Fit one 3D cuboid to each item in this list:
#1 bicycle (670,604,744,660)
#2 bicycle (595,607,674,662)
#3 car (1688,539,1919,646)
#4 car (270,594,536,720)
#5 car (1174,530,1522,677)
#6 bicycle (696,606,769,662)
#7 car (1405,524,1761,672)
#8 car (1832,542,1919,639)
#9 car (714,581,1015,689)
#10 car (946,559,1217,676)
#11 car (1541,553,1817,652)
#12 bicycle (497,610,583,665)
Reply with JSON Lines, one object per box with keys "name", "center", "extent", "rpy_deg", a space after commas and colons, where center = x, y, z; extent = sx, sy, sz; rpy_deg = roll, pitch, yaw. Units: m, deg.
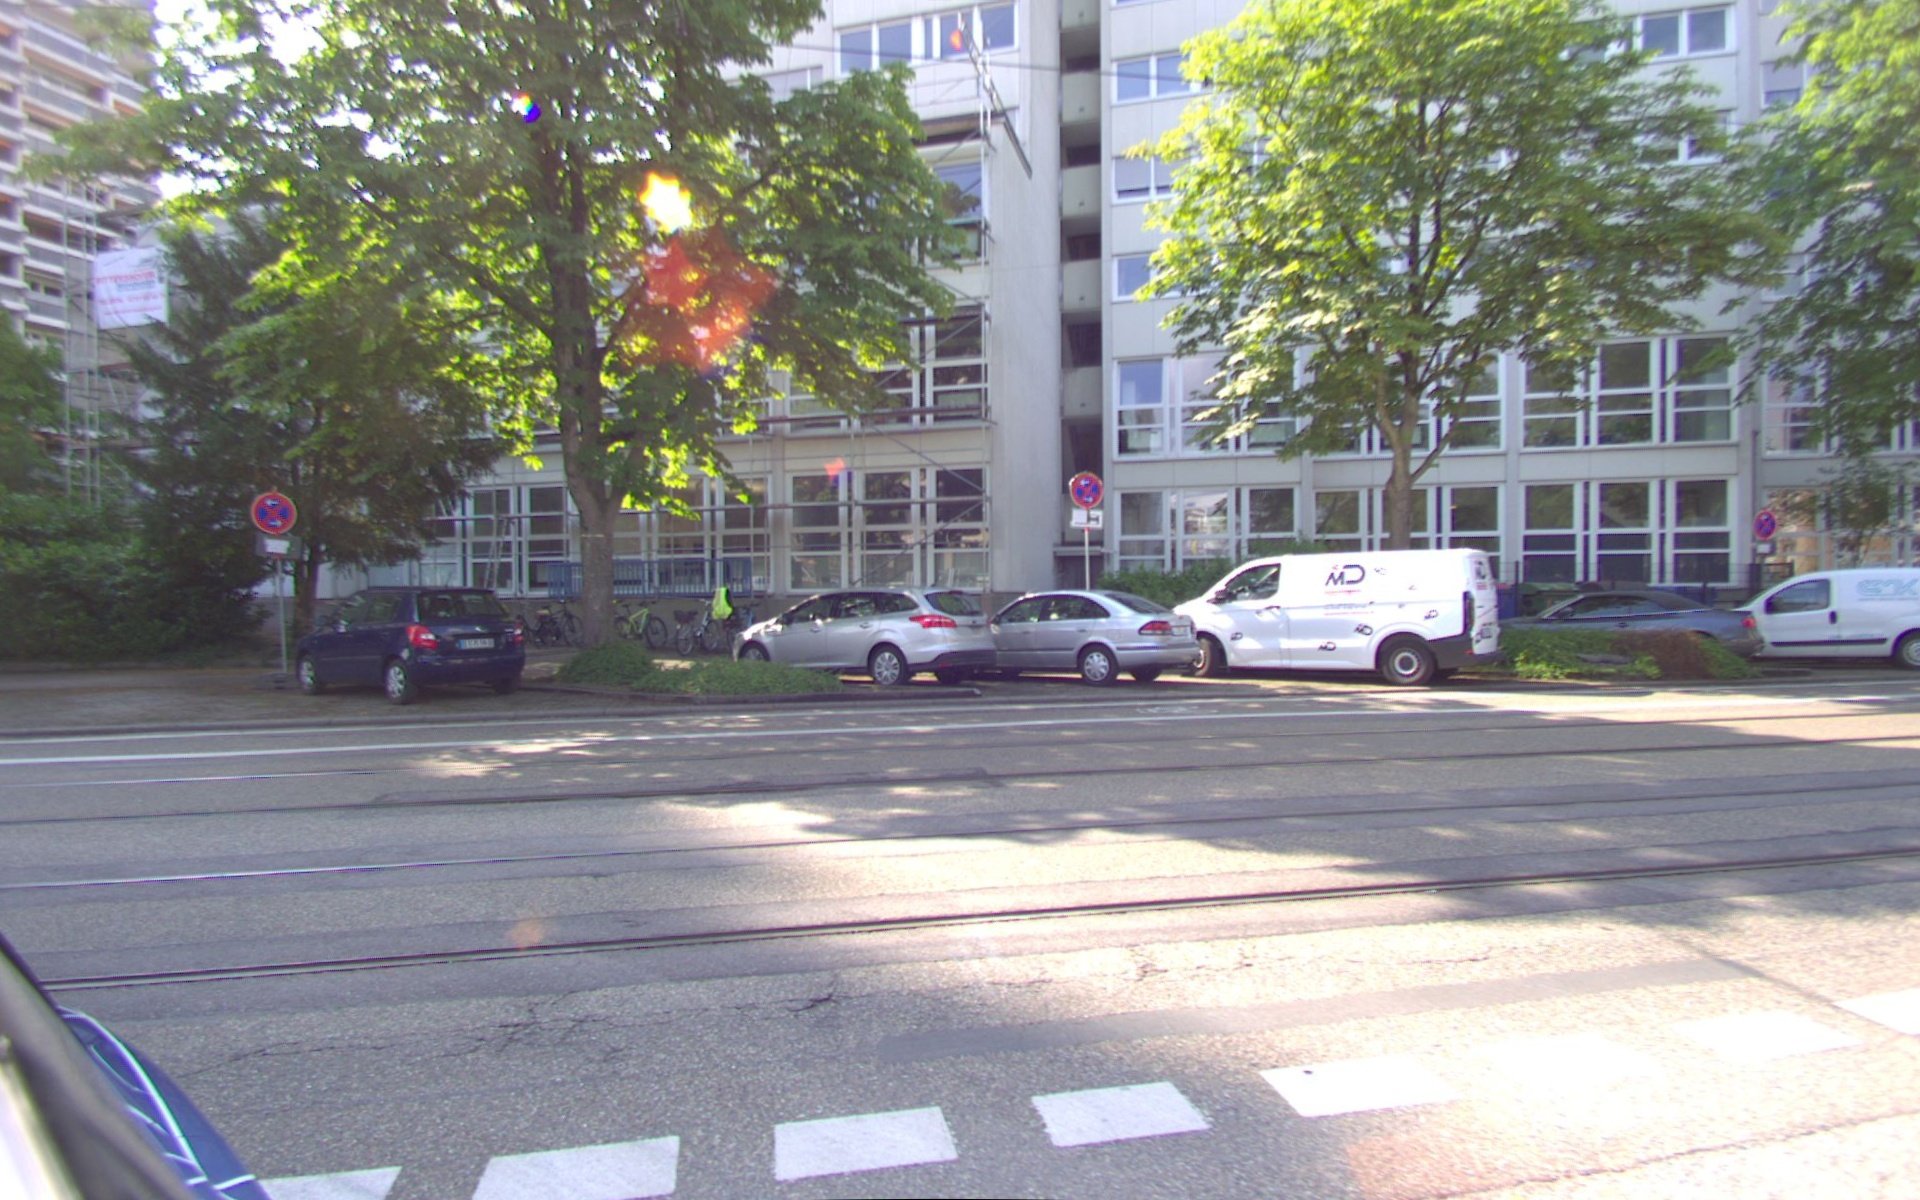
{"name": "bicycle", "center": [-5.351, 0.658, 21.508], "extent": [0.493, 1.095, 2.043], "rpy_deg": [-2, 0, 18]}
{"name": "bicycle", "center": [-7.015, 0.727, 21.934], "extent": [0.493, 1.095, 2.043], "rpy_deg": [-2, 0, 18]}
{"name": "car", "center": [15.060, -0.112, 17.627], "extent": [3.749, 1.725, 1.862], "rpy_deg": [-2, 0, 34]}
{"name": "car", "center": [-7.769, 0.726, 13.987], "extent": [3.993, 1.473, 1.738], "rpy_deg": [-2, 0, 37]}
{"name": "car", "center": [5.803, 0.031, 15.453], "extent": [4.636, 1.926, 1.907], "rpy_deg": [0, 0, 38]}
{"name": "bicycle", "center": [-4.746, 0.684, 21.256], "extent": [0.493, 1.095, 2.043], "rpy_deg": [-2, 0, 18]}
{"name": "car", "center": [9.642, -0.052, 15.886], "extent": [4.568, 2.012, 1.879], "rpy_deg": [0, 1, 38]}
{"name": "car", "center": [18.308, -0.207, 18.174], "extent": [3.749, 1.725, 1.862], "rpy_deg": [-2, 0, 34]}
{"name": "car", "center": [-1.528, 0.521, 15.382], "extent": [4.448, 1.437, 1.721], "rpy_deg": [-2, -1, 33]}
{"name": "car", "center": [1.820, 0.327, 15.725], "extent": [3.776, 1.487, 1.704], "rpy_deg": [-5, -4, 37]}
{"name": "car", "center": [12.004, 0.089, 17.203], "extent": [3.624, 1.512, 1.744], "rpy_deg": [-2, -1, 32]}
{"name": "bicycle", "center": [-9.149, 0.792, 22.130], "extent": [0.493, 1.095, 2.043], "rpy_deg": [-2, 0, 18]}
